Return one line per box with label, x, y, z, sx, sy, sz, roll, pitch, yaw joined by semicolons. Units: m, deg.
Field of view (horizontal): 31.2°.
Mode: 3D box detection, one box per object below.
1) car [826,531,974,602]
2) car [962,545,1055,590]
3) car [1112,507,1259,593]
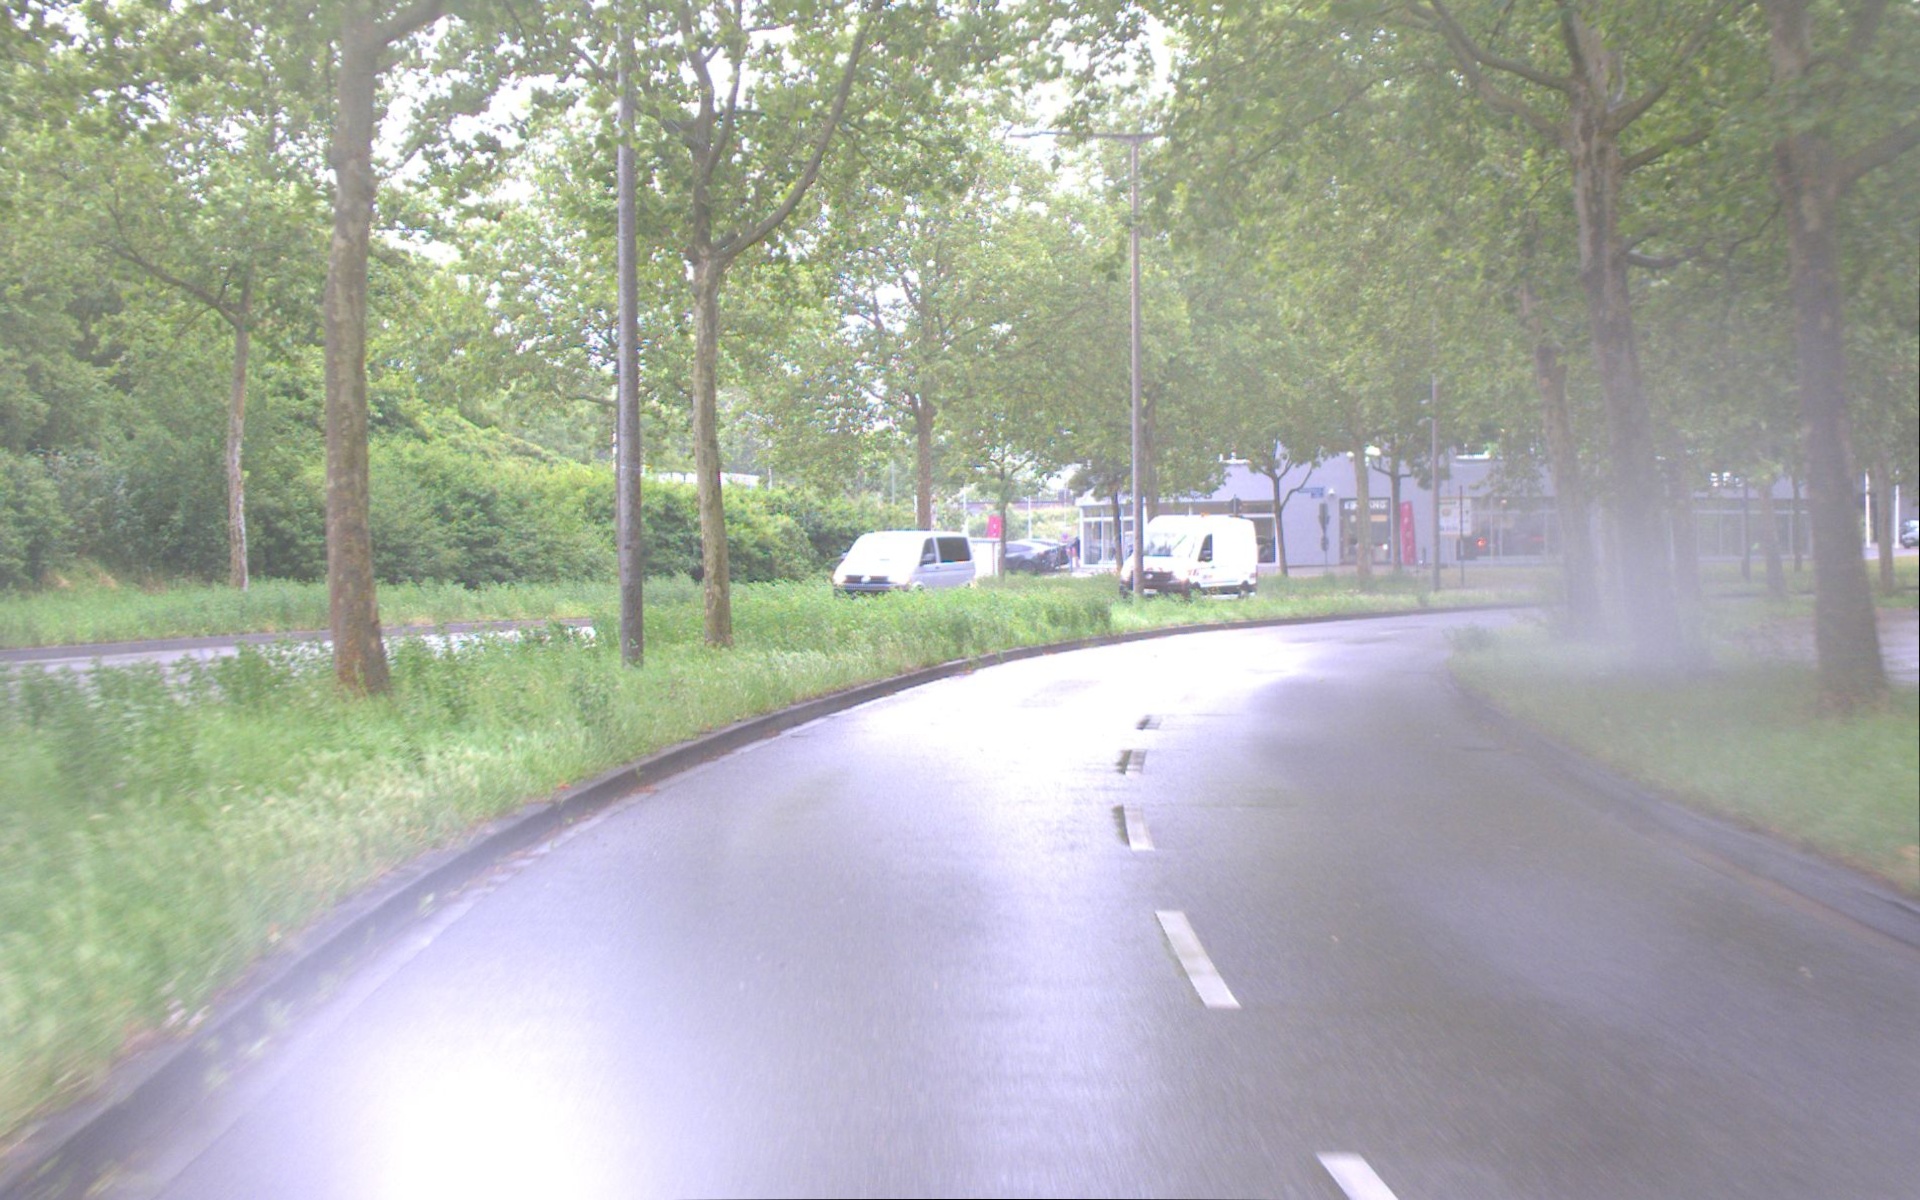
car;-1.315;-0.771;77.616;1.973;1.558;4.727;0;1;17
car;2.197;-1.479;156.486;3.986;2.007;2.000;0;-1;-7
car;6.231;-1.367;94.174;2.285;2.264;5.961;0;1;22
